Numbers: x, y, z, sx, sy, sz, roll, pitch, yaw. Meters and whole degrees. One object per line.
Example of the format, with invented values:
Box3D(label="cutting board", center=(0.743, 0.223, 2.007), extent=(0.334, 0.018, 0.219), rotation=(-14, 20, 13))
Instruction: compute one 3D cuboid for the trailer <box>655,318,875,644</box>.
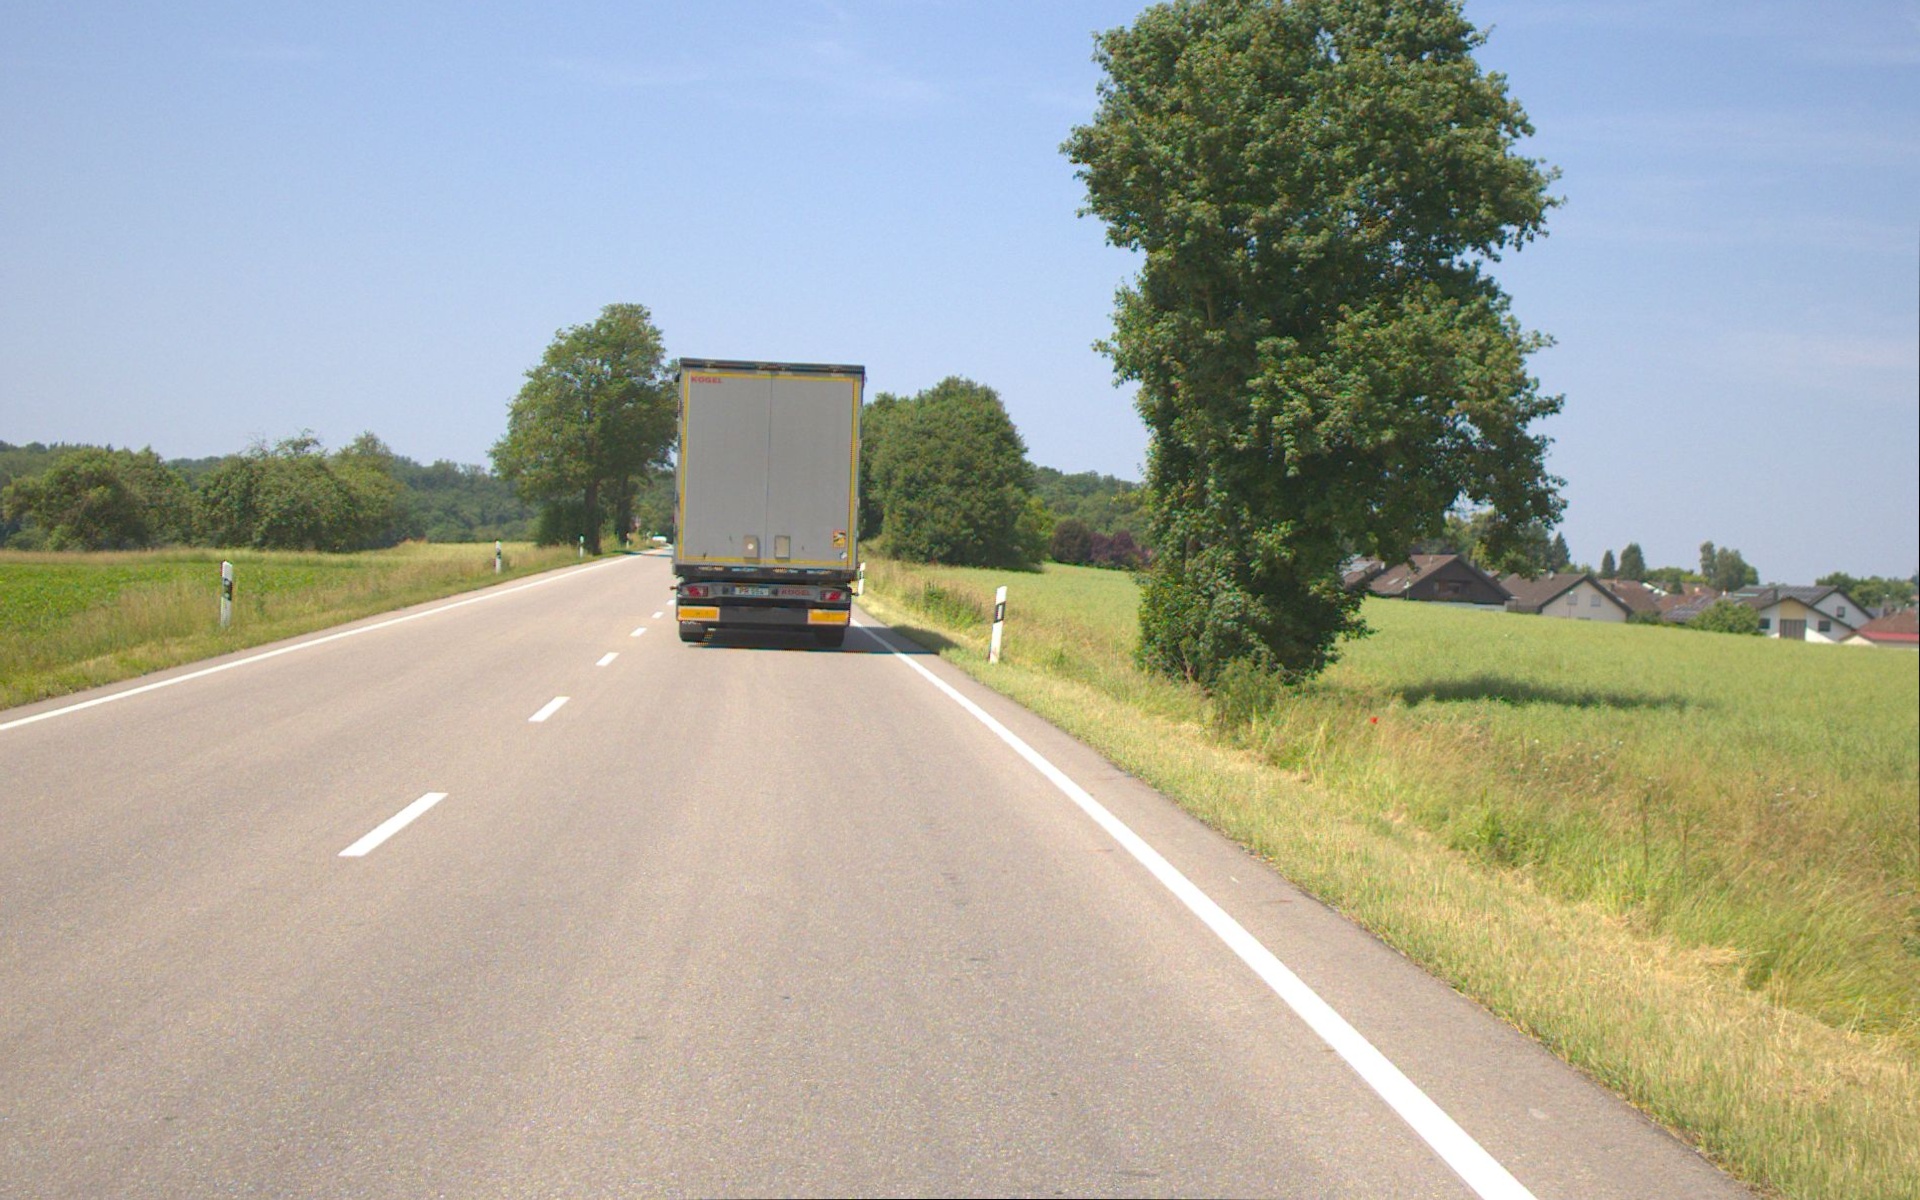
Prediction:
Box3D(label="trailer", center=(-3.264, -1.778, 53.800), extent=(2.866, 4.385, 13.496), rotation=(2, 1, -5))
